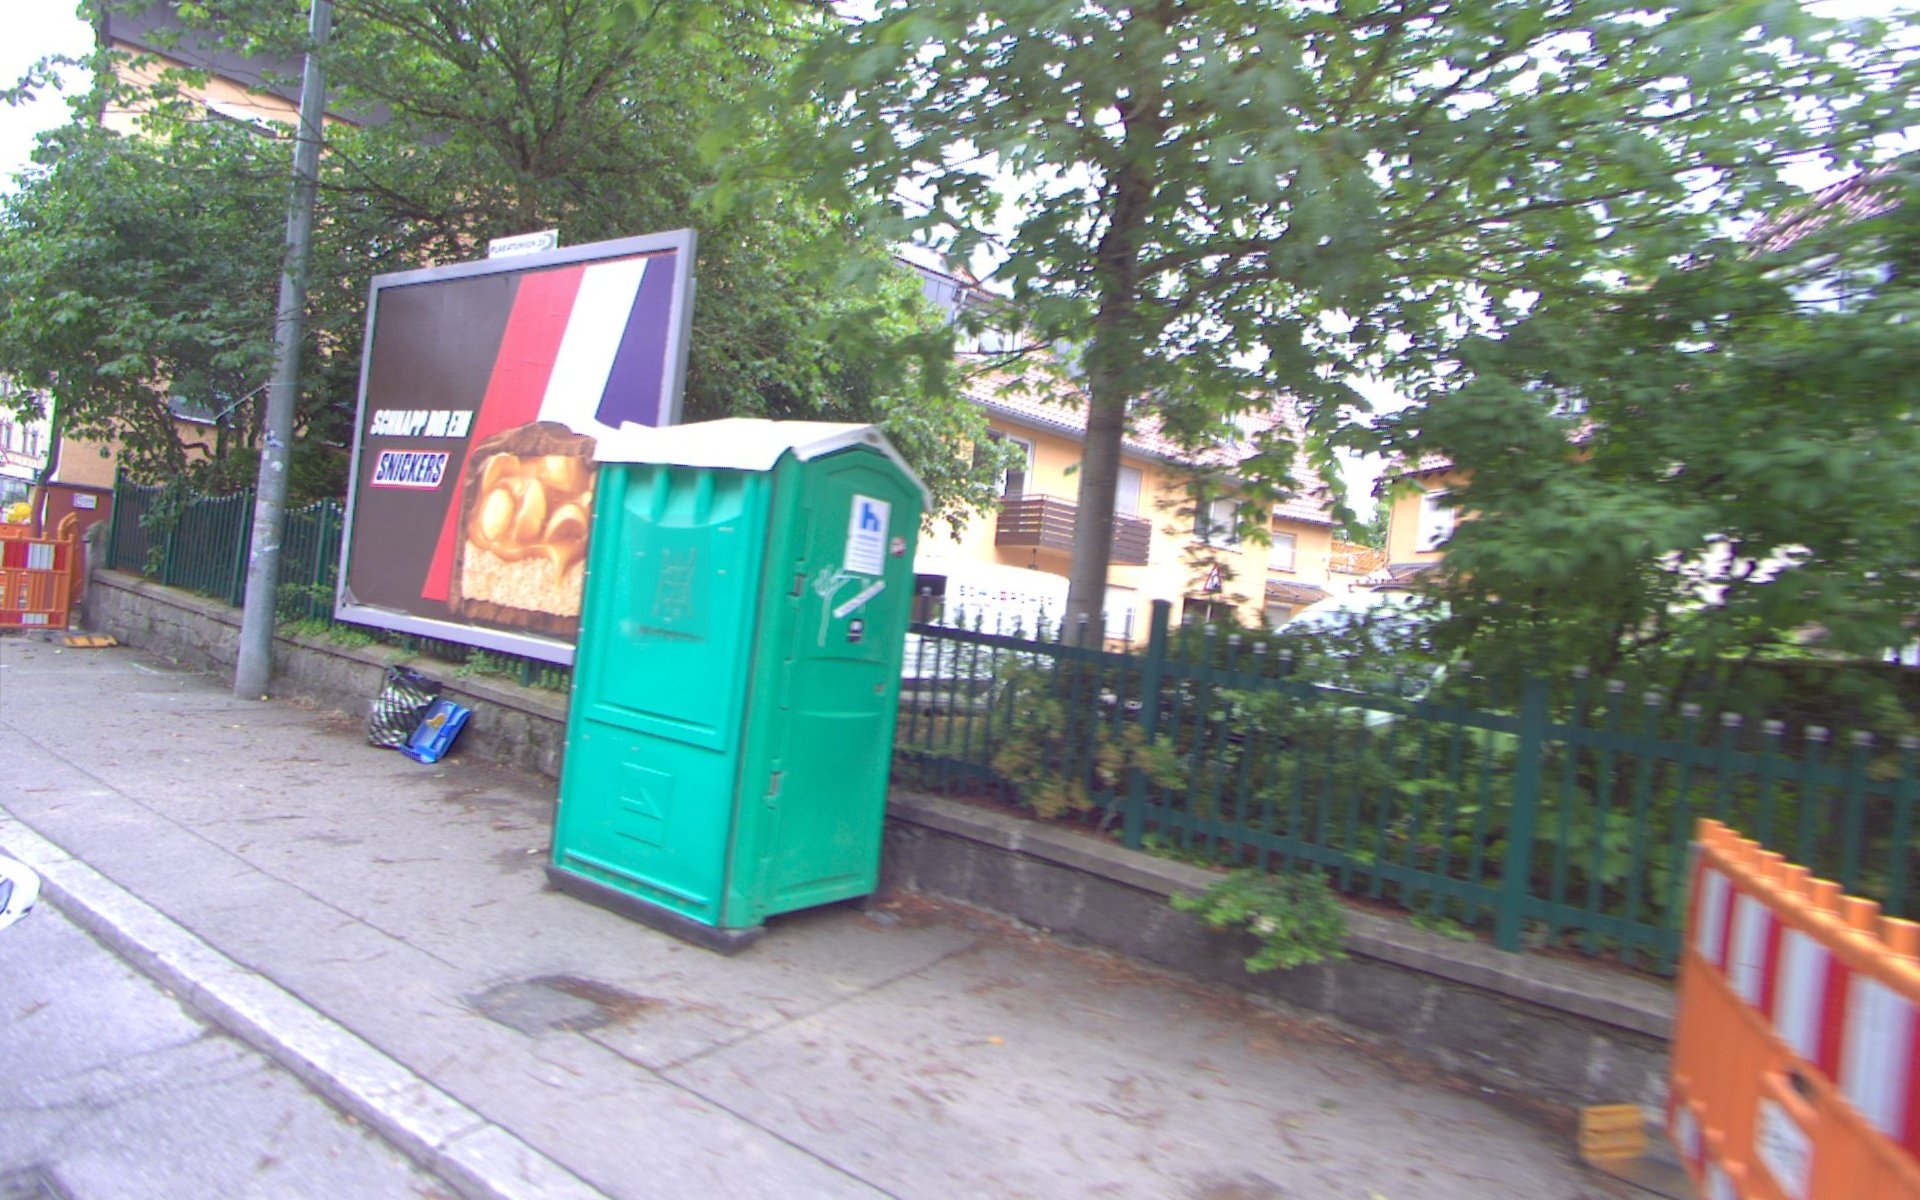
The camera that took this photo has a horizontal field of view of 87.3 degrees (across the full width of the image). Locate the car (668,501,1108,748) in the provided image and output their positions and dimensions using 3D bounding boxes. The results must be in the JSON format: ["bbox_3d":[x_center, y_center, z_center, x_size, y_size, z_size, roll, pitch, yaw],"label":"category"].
[{"bbox_3d":[-0.745,0.334,11.013,4.183,2.057,1.984,8,-1,-31],"label":"car"}]

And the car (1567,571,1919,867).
[{"bbox_3d":[6.014,0.849,7.757,1.716,1.581,3.999,7,-1,25],"label":"car"}]
